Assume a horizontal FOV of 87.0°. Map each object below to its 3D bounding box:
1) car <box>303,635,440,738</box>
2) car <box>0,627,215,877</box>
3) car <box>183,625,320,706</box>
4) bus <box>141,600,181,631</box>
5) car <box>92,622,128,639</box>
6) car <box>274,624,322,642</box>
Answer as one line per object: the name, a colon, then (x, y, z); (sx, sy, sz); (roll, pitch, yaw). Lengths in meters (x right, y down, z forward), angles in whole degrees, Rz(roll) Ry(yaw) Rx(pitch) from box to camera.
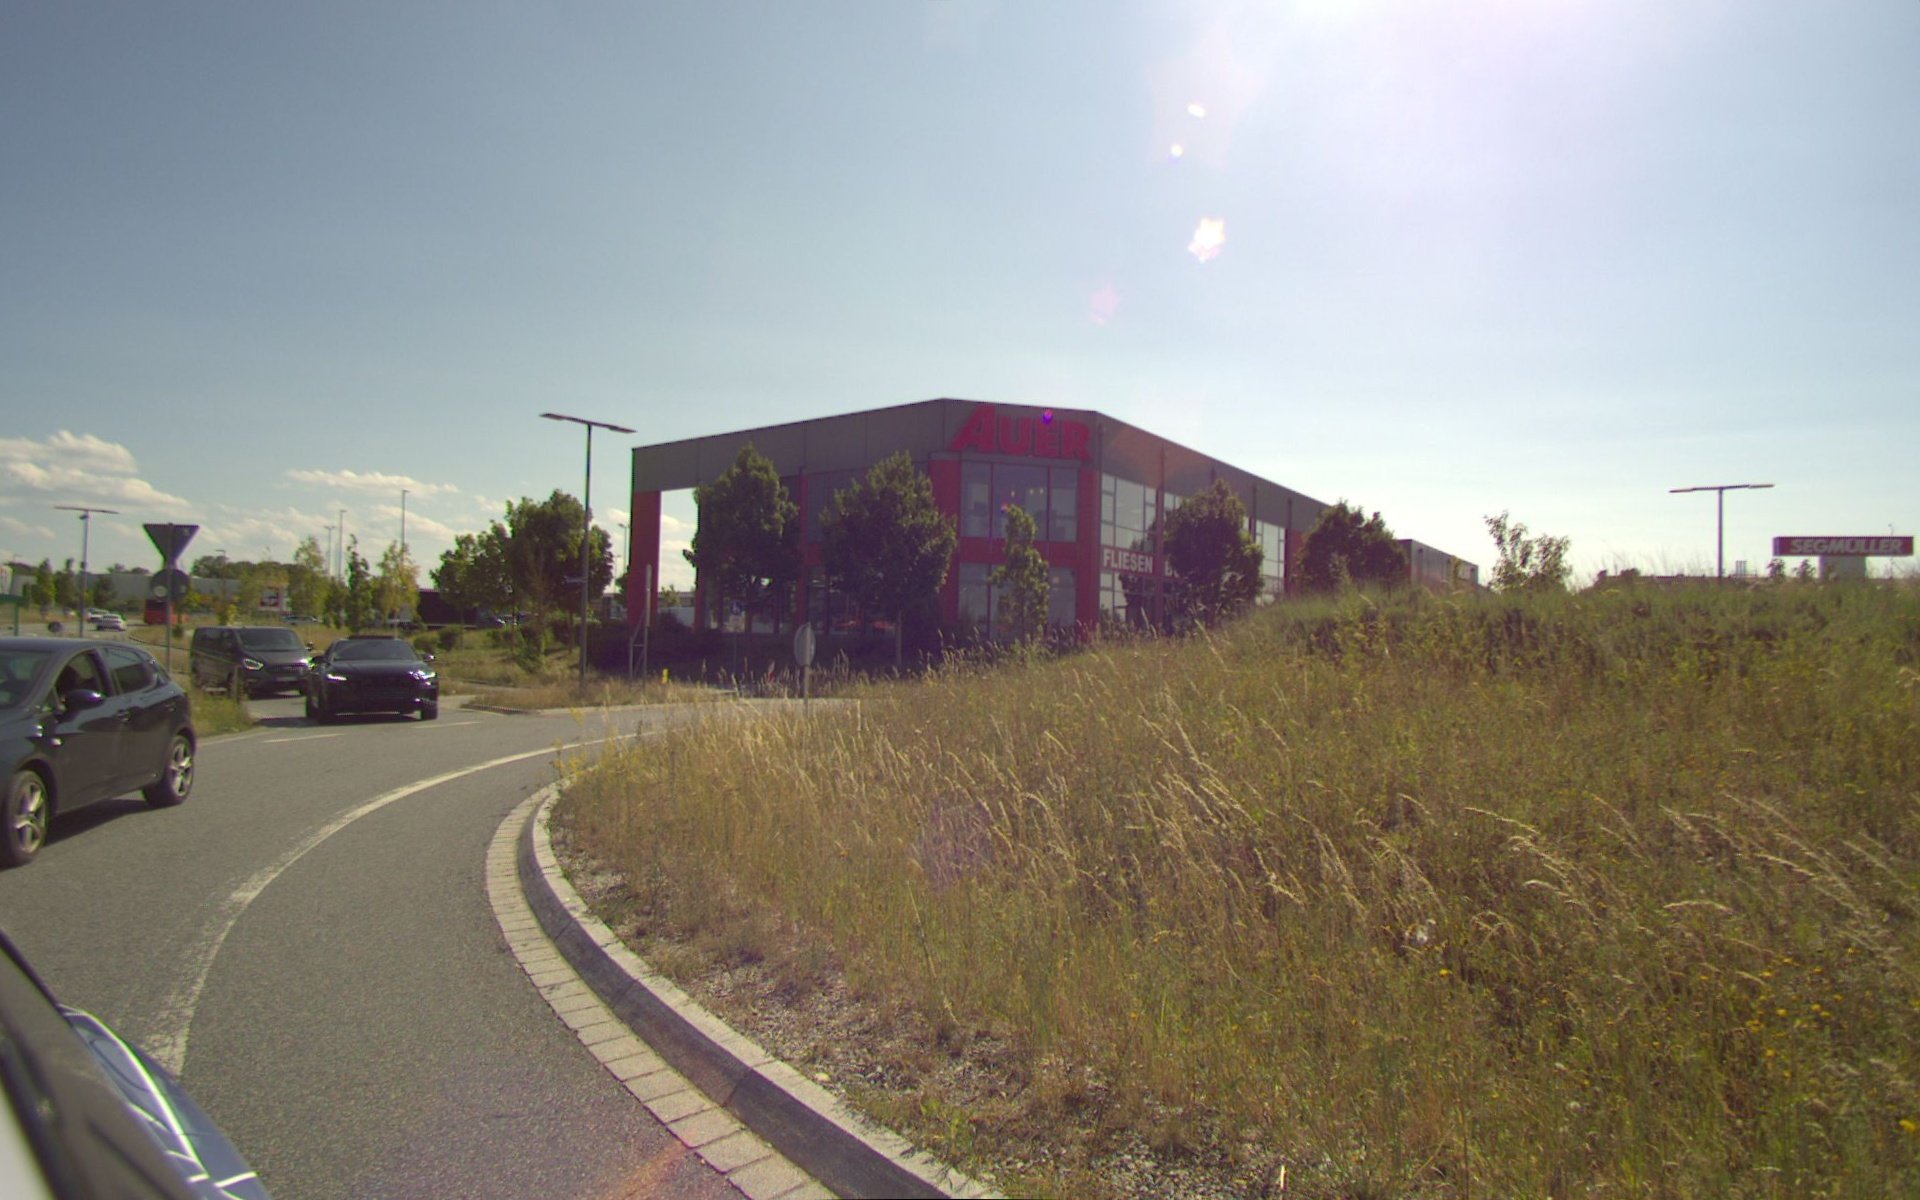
car: (-11.849, 1.621, 20.258); (1.833, 1.701, 4.008); (0, 0, -38)
car: (-7.070, 0.941, 7.077); (1.831, 1.479, 4.012); (2, -2, -19)
car: (-20.628, 1.812, 29.402); (4.678, 2.064, 2.054); (0, 0, 39)
bus: (-88.420, 1.750, 112.164); (2.574, 3.266, 11.911); (3, -2, -34)
car: (-73.728, 2.667, 87.794); (1.767, 1.426, 4.394); (2, -2, -33)
car: (-69.720, 3.485, 106.573); (3.878, 1.689, 1.624); (2, -3, -20)
